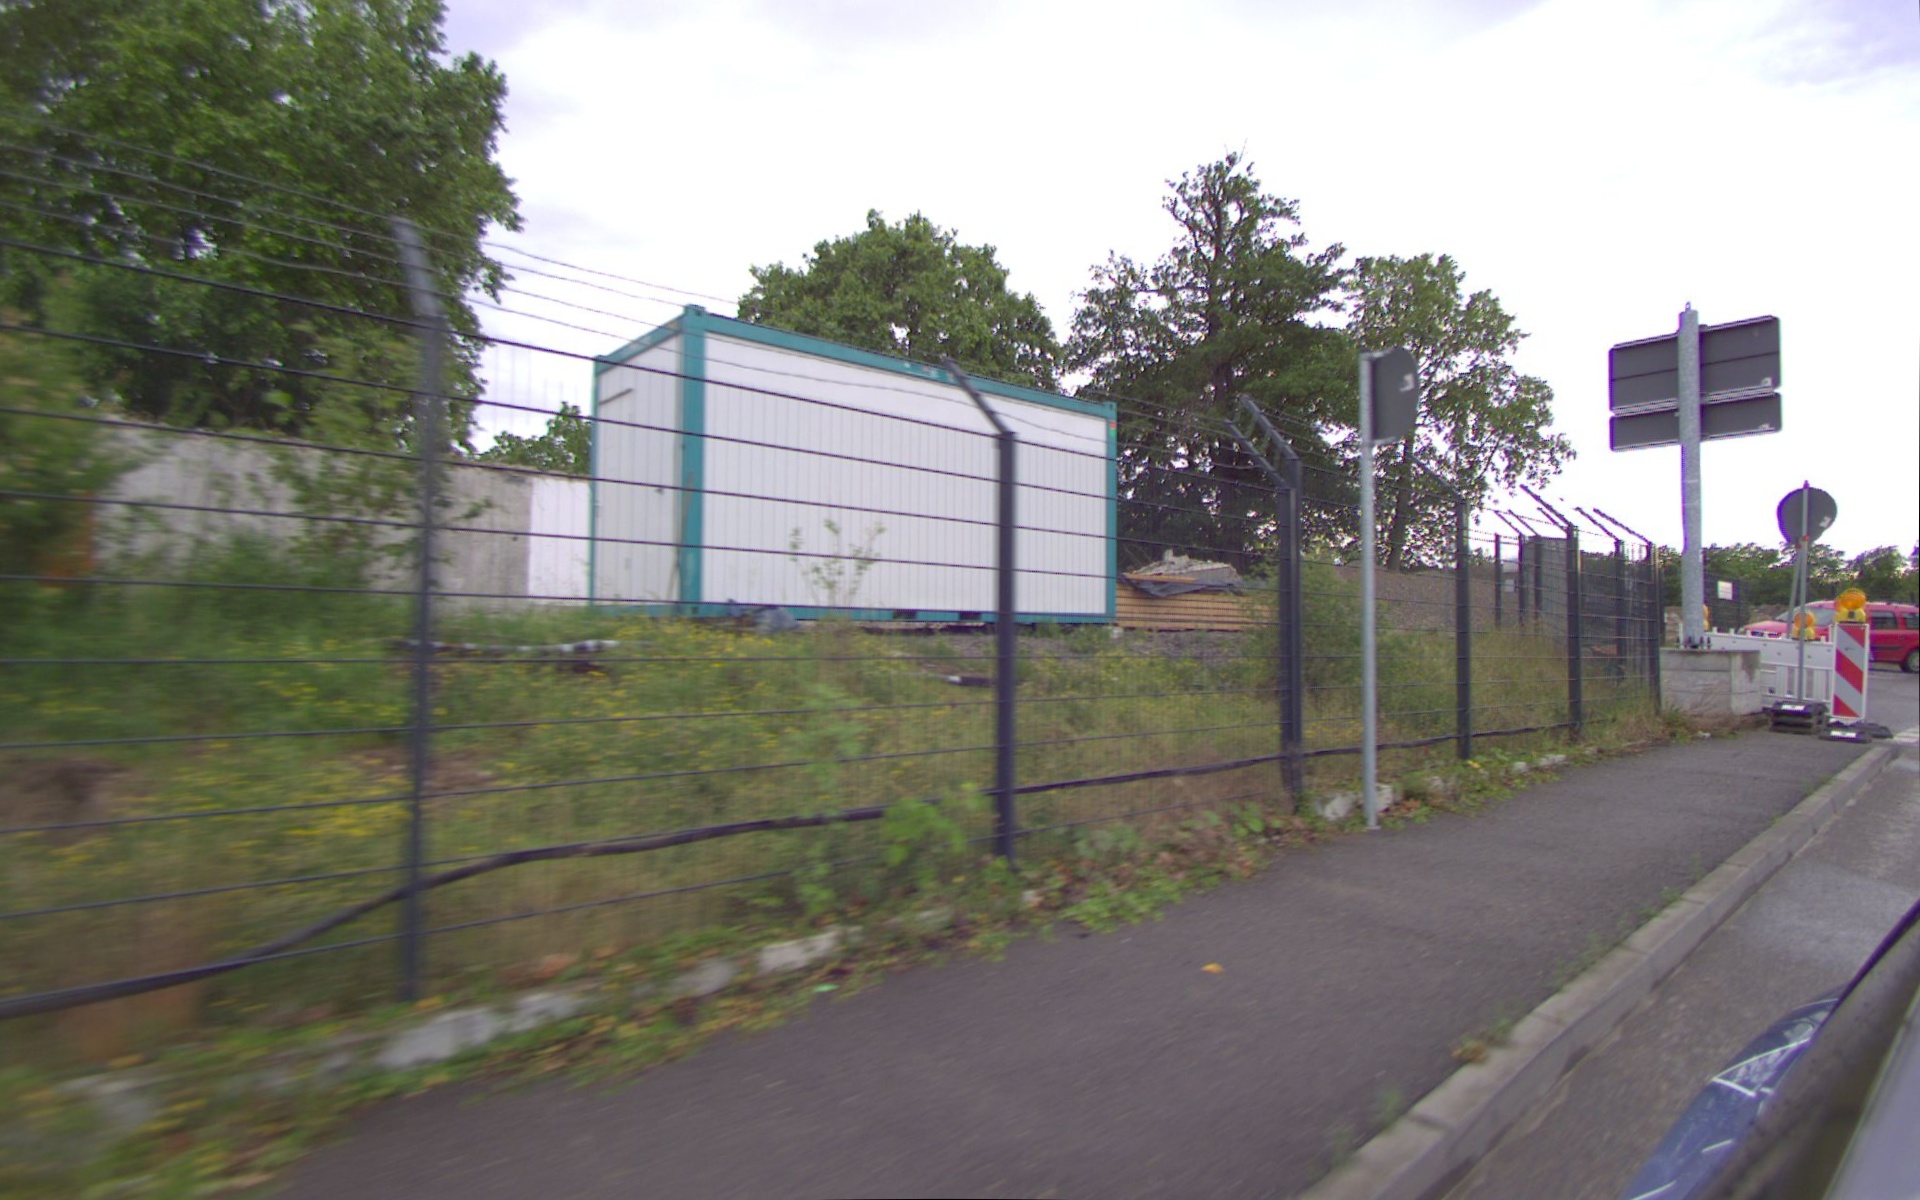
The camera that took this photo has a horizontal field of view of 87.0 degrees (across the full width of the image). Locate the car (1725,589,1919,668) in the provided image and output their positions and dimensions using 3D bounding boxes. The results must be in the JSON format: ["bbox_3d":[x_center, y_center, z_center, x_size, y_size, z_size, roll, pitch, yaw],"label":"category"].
[{"bbox_3d":[21.406,0.680,24.675,4.319,1.817,1.828,0,-1,-7],"label":"car"}]
